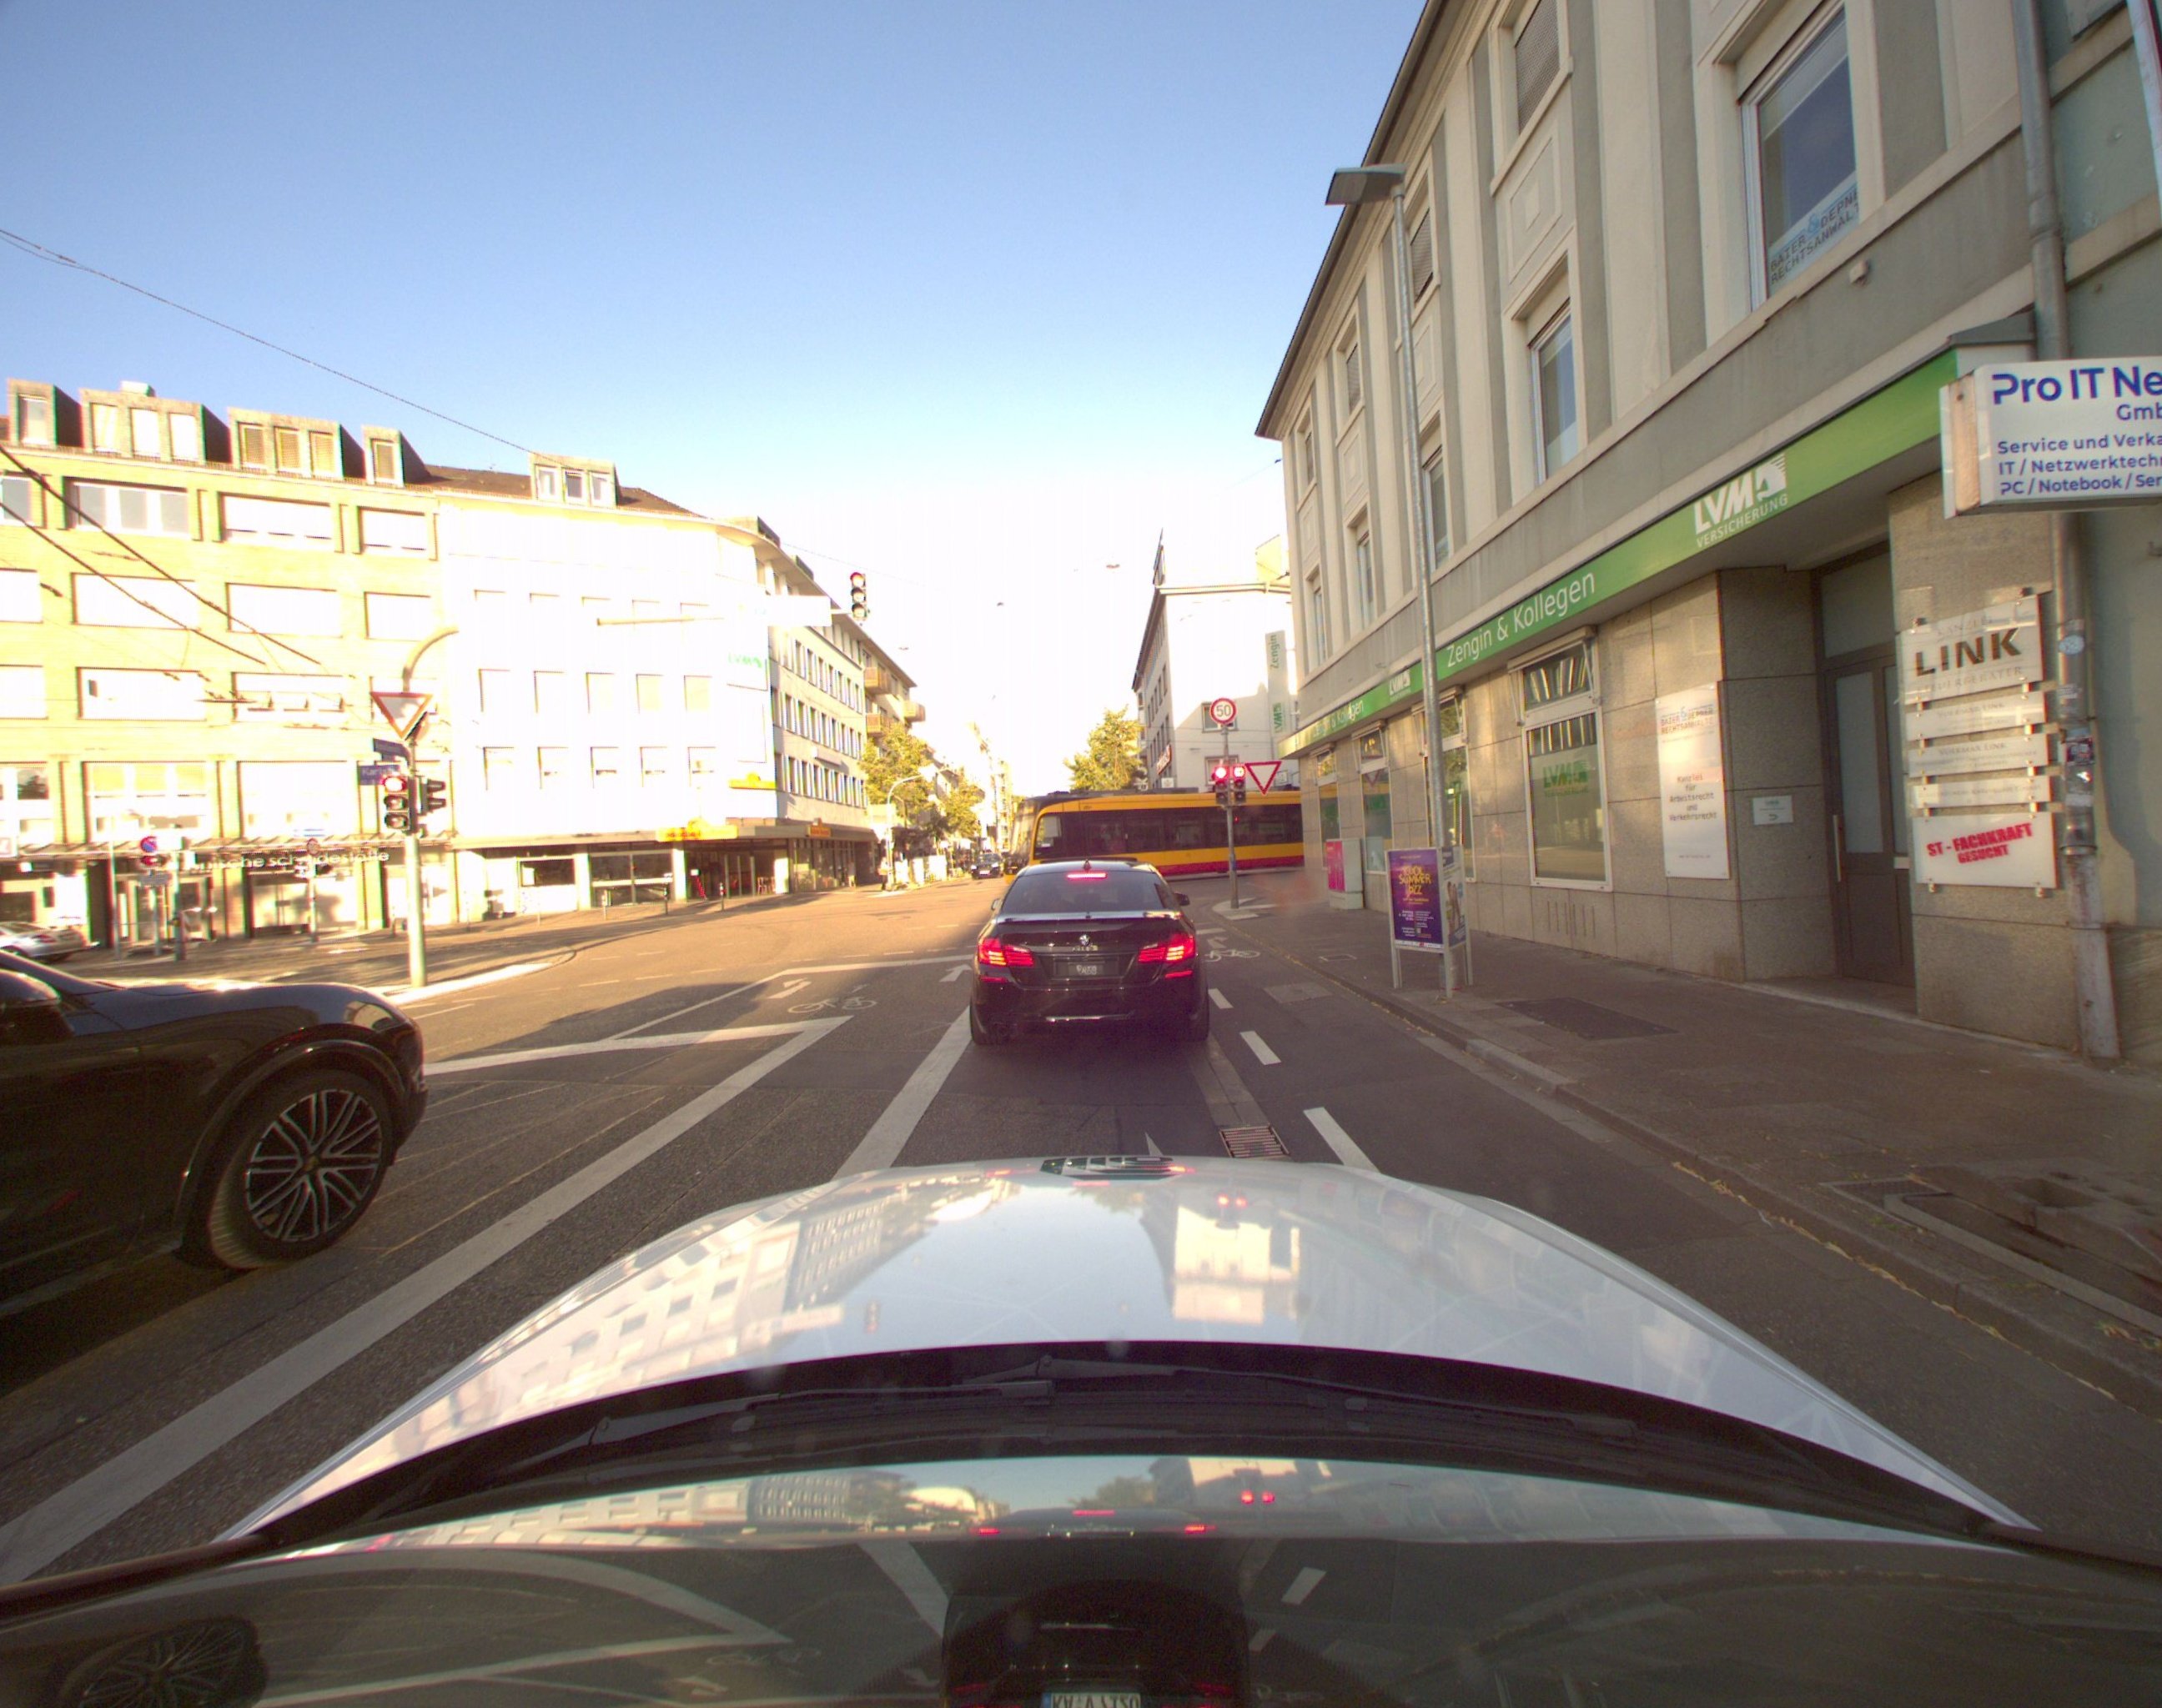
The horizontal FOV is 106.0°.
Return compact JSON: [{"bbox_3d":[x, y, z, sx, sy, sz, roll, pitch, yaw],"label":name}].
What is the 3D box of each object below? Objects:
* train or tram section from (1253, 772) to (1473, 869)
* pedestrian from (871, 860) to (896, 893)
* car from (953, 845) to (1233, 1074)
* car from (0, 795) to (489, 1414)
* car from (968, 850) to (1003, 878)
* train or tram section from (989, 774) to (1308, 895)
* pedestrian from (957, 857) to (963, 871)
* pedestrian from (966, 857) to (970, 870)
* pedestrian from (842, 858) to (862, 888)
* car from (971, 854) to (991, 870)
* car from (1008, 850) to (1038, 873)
[{"bbox_3d":[13.068,-1.592,37.271,10.486,3.811,3.053,-4,0,-28],"label":"train or tram section"},{"bbox_3d":[-9.619,1.100,39.649,0.944,1.537,0.907,-3,0,-3],"label":"pedestrian"},{"bbox_3d":[0.067,0.698,7.773,1.898,1.540,4.448,0,0,-1],"label":"car"},{"bbox_3d":[-4.008,0.756,1.783,1.942,1.714,4.562,-4,0,0],"label":"car"},{"bbox_3d":[-6.107,0.639,52.524,1.990,1.618,3.993,-3,0,-5],"label":"car"},{"bbox_3d":[2.994,-0.908,31.583,12.696,3.865,3.052,-4,0,-30],"label":"train or tram section"},{"bbox_3d":[-12.161,0.986,81.814,0.443,1.416,0.525,-4,0,-2],"label":"pedestrian"},{"bbox_3d":[-11.439,0.968,82.156,0.306,1.359,0.284,-3,0,-9],"label":"pedestrian"},{"bbox_3d":[-13.079,1.073,46.534,0.821,1.676,0.871,-3,0,-1],"label":"pedestrian"},{"bbox_3d":[-9.736,0.763,79.420,1.731,1.461,3.993,-3,0,-5],"label":"car"},{"bbox_3d":[-4.151,0.506,57.924,1.990,1.442,3.993,-3,0,-5],"label":"car"}]
